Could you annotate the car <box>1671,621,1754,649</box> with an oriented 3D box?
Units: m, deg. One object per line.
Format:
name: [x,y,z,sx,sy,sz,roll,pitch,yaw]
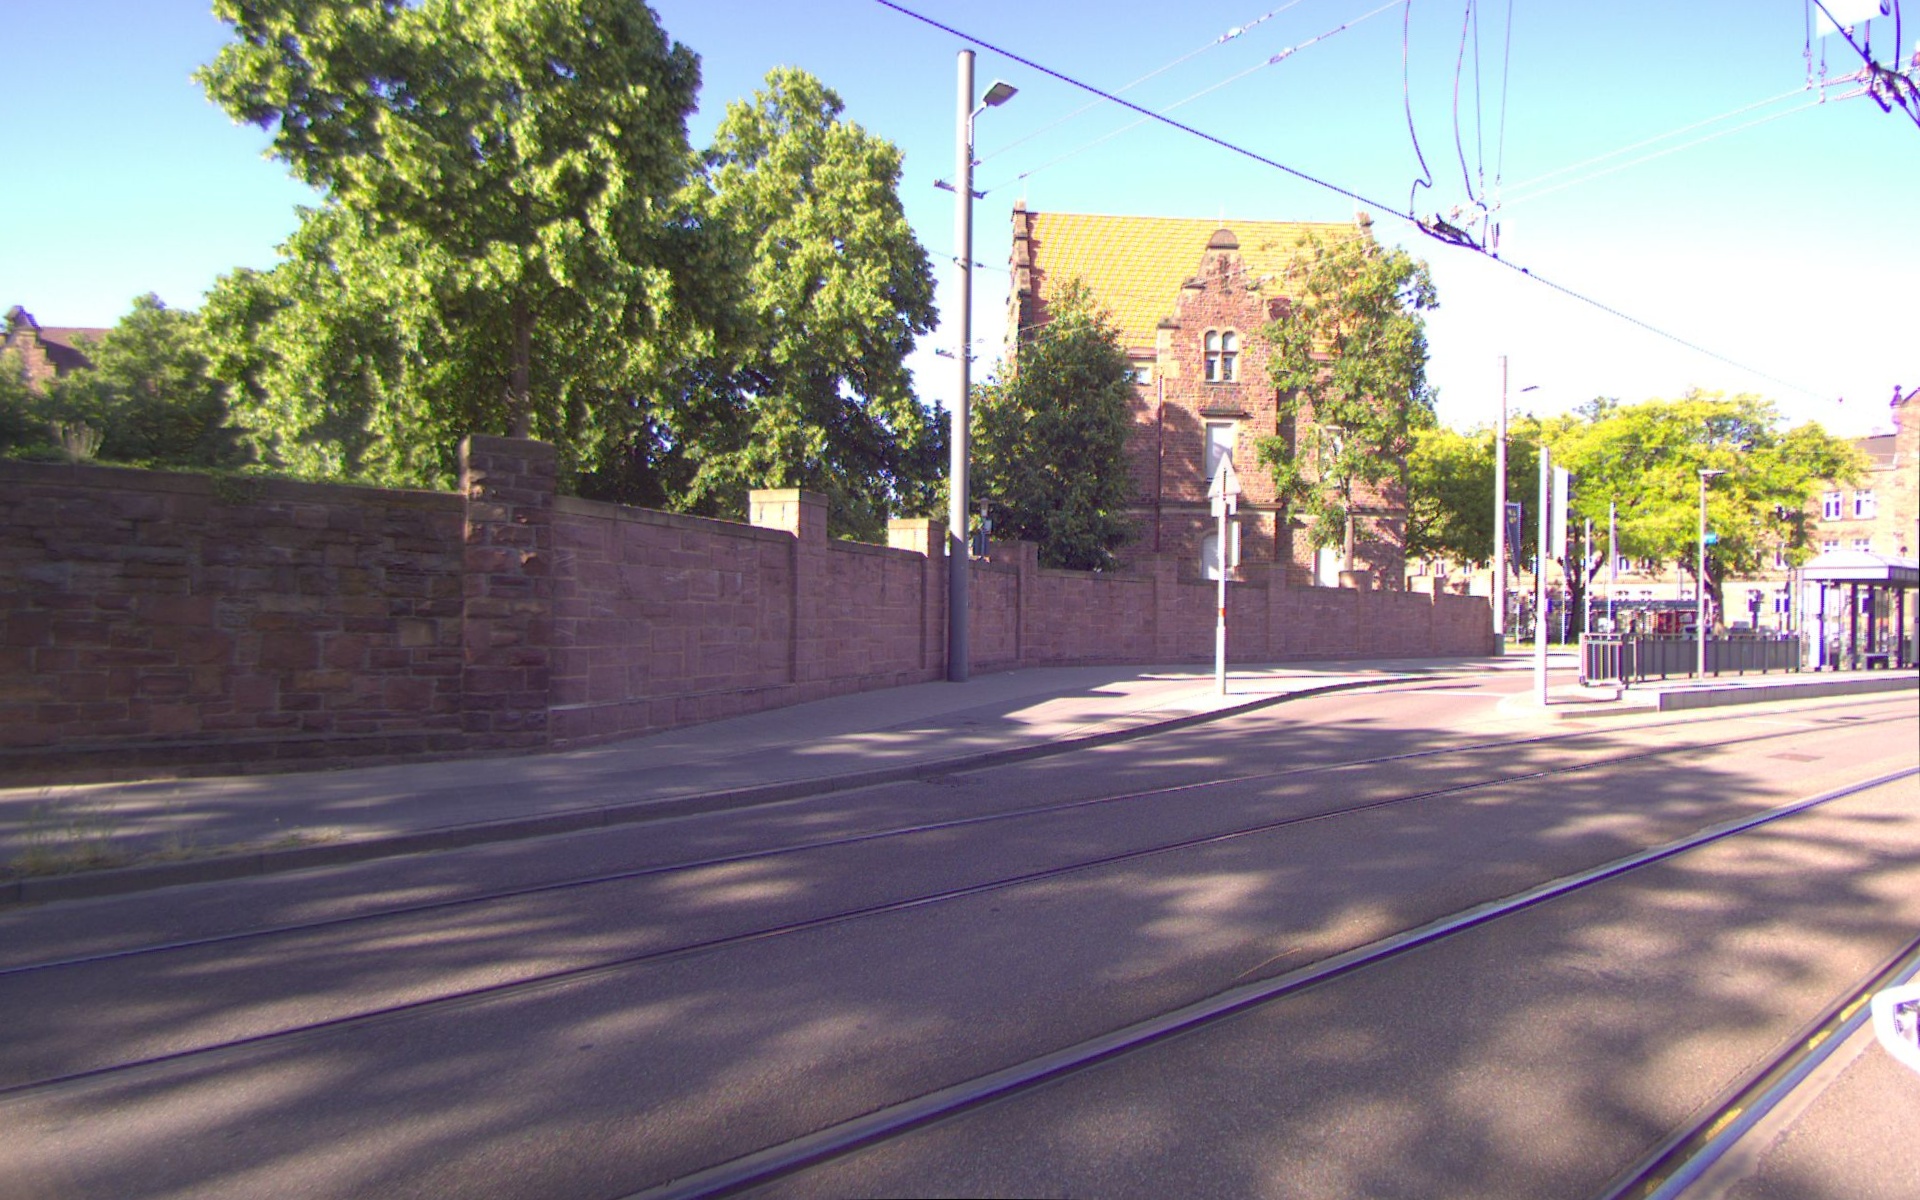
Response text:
car: [49.174,2.257,65.681,1.798,1.651,3.964,2,0,-32]

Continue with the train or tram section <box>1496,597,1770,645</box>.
train or tram section: [50.023,1.477,75.886,3.312,3.196,17.280,2,-1,-33]

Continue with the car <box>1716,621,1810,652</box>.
car: [47.749,2.173,59.797,1.798,1.651,3.964,2,0,-32]
